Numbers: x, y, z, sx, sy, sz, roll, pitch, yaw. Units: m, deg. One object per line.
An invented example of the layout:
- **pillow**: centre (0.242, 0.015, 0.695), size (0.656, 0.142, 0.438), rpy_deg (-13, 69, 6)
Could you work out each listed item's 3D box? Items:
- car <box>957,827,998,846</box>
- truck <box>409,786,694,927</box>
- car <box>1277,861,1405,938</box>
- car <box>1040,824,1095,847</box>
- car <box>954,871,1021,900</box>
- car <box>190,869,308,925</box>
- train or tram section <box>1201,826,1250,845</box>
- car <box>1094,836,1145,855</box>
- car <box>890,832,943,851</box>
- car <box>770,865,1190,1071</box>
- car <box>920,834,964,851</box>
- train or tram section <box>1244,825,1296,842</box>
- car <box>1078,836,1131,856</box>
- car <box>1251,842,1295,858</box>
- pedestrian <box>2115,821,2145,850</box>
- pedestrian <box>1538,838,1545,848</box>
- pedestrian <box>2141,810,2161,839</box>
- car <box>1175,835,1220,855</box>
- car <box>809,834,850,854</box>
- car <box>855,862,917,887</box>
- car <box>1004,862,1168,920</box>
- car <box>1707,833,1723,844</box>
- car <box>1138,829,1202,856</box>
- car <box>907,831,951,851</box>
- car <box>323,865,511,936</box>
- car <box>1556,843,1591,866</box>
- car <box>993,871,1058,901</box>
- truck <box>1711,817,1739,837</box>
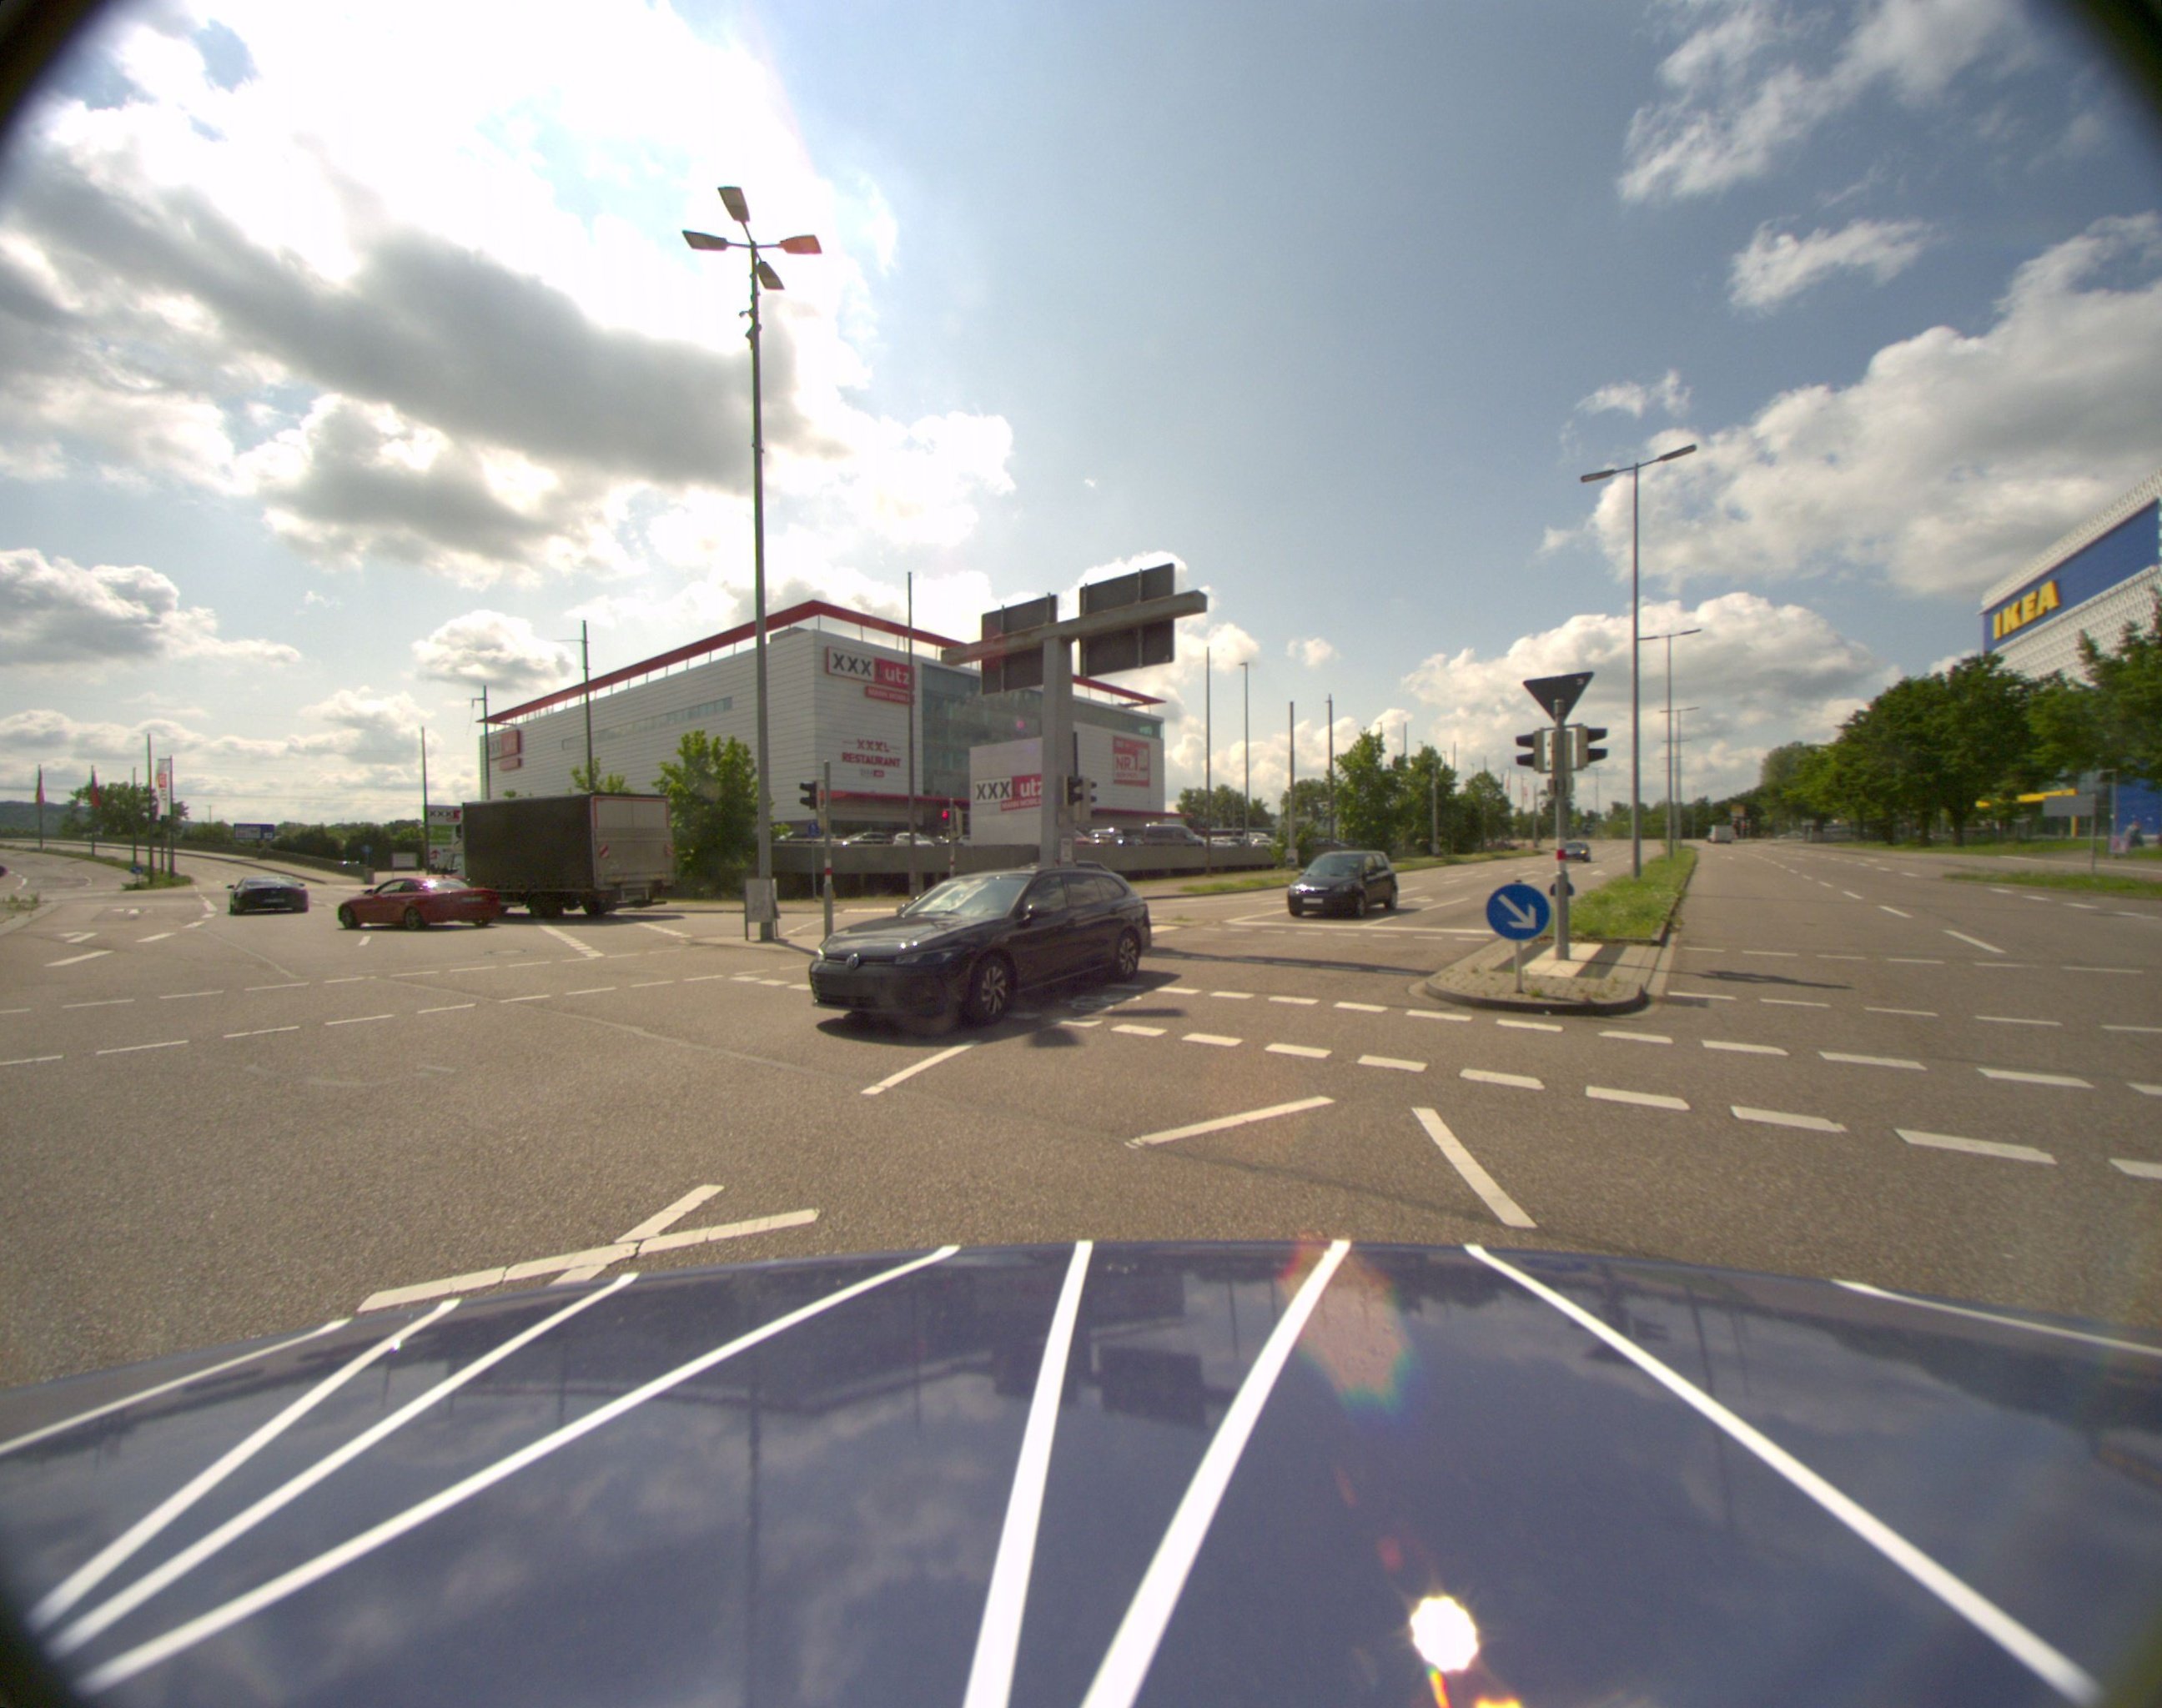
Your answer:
- **car**: centre (-10.678, -1.830, 78.232), size (3.989, 1.740, 1.920), rpy_deg (-2, 1, 38)
- **truck**: centre (-17.319, 0.206, 24.748), size (9.049, 4.004, 3.227), rpy_deg (-2, 1, 24)
- **car**: centre (6.488, 1.014, 18.658), size (1.603, 1.521, 4.278), rpy_deg (-1, 1, 39)
- **car**: centre (-1.120, -1.564, 64.687), size (4.178, 1.740, 1.919), rpy_deg (-2, 1, 26)
- **car**: centre (-6.231, 2.090, 51.315), size (1.994, 1.740, 4.372), rpy_deg (-1, 1, 36)
- **car**: centre (-30.193, 1.565, 27.561), size (4.209, 1.645, 1.869), rpy_deg (-6, -3, 28)
- **train or tram section**: centre (39.986, -5.152, 210.714), size (13.070, 4.534, 3.739), rpy_deg (-2, 1, 37)
- **car**: centre (3.593, -0.819, 70.584), size (4.411, 1.596, 1.959), rpy_deg (-1, 1, 40)
- **car**: centre (-14.237, -1.083, 65.654), size (4.411, 1.462, 1.958), rpy_deg (-2, 1, 36)
- **car**: centre (-0.707, 0.979, 8.823), size (1.809, 1.469, 5.213), rpy_deg (-1, 1, 33)
- **car**: centre (-13.529, -1.085, 73.883), size (4.411, 1.462, 1.563), rpy_deg (-2, 1, 36)
- **train or tram section**: centre (50.401, -5.509, 202.852), size (13.067, 4.347, 3.739), rpy_deg (1, 3, 37)
- **car**: centre (2.092, -0.724, 68.888), size (4.411, 1.596, 1.959), rpy_deg (-2, 1, 38)
- **car**: centre (22.038, -0.460, 87.268), size (4.411, 1.596, 1.959), rpy_deg (-2, 1, 38)
- **pedestrian**: centre (65.340, -1.170, 47.343), size (0.852, 1.718, 1.167), rpy_deg (-2, 1, 42)
- **pedestrian**: centre (83.262, -2.057, 137.372), size (0.704, 1.803, 0.545), rpy_deg (-3, 1, -4)
- **pedestrian**: centre (65.966, -1.794, 46.606), size (0.852, 1.718, 1.167), rpy_deg (-2, 1, 42)
- **car**: centre (11.403, -0.912, 74.630), size (3.989, 1.783, 1.753), rpy_deg (-2, 1, 40)
- **car**: centre (-25.255, -1.010, 76.370), size (4.411, 1.813, 1.563), rpy_deg (-2, 1, 36)
- **car**: centre (-15.405, 1.633, 60.225), size (1.994, 1.740, 4.372), rpy_deg (-1, 1, 36)
- **car**: centre (0.125, 1.083, 23.148), size (4.680, 1.469, 1.777), rpy_deg (-2, 1, -14)
- **car**: centre (103.370, -2.554, 123.878), size (1.937, 1.674, 4.007), rpy_deg (-2, 1, 40)
- **car**: centre (8.354, -1.087, 71.590), size (5.783, 2.270, 1.753), rpy_deg (-2, 1, 36)
- **car**: centre (-14.450, -1.215, 72.057), size (3.989, 1.740, 1.920), rpy_deg (-2, 1, 38)
- **car**: centre (-17.896, 1.243, 20.505), size (4.210, 1.646, 1.867), rpy_deg (-3, 1, 19)
- **car**: centre (34.337, 0.036, 52.887), size (1.603, 1.521, 4.278), rpy_deg (-1, 1, 39)
- **car**: centre (-3.562, 2.033, 49.122), size (1.994, 1.740, 4.008), rpy_deg (-1, 1, 36)
- **truck**: centre (98.752, -4.161, 116.565), size (2.966, 2.736, 5.795), rpy_deg (-2, 1, 37)
